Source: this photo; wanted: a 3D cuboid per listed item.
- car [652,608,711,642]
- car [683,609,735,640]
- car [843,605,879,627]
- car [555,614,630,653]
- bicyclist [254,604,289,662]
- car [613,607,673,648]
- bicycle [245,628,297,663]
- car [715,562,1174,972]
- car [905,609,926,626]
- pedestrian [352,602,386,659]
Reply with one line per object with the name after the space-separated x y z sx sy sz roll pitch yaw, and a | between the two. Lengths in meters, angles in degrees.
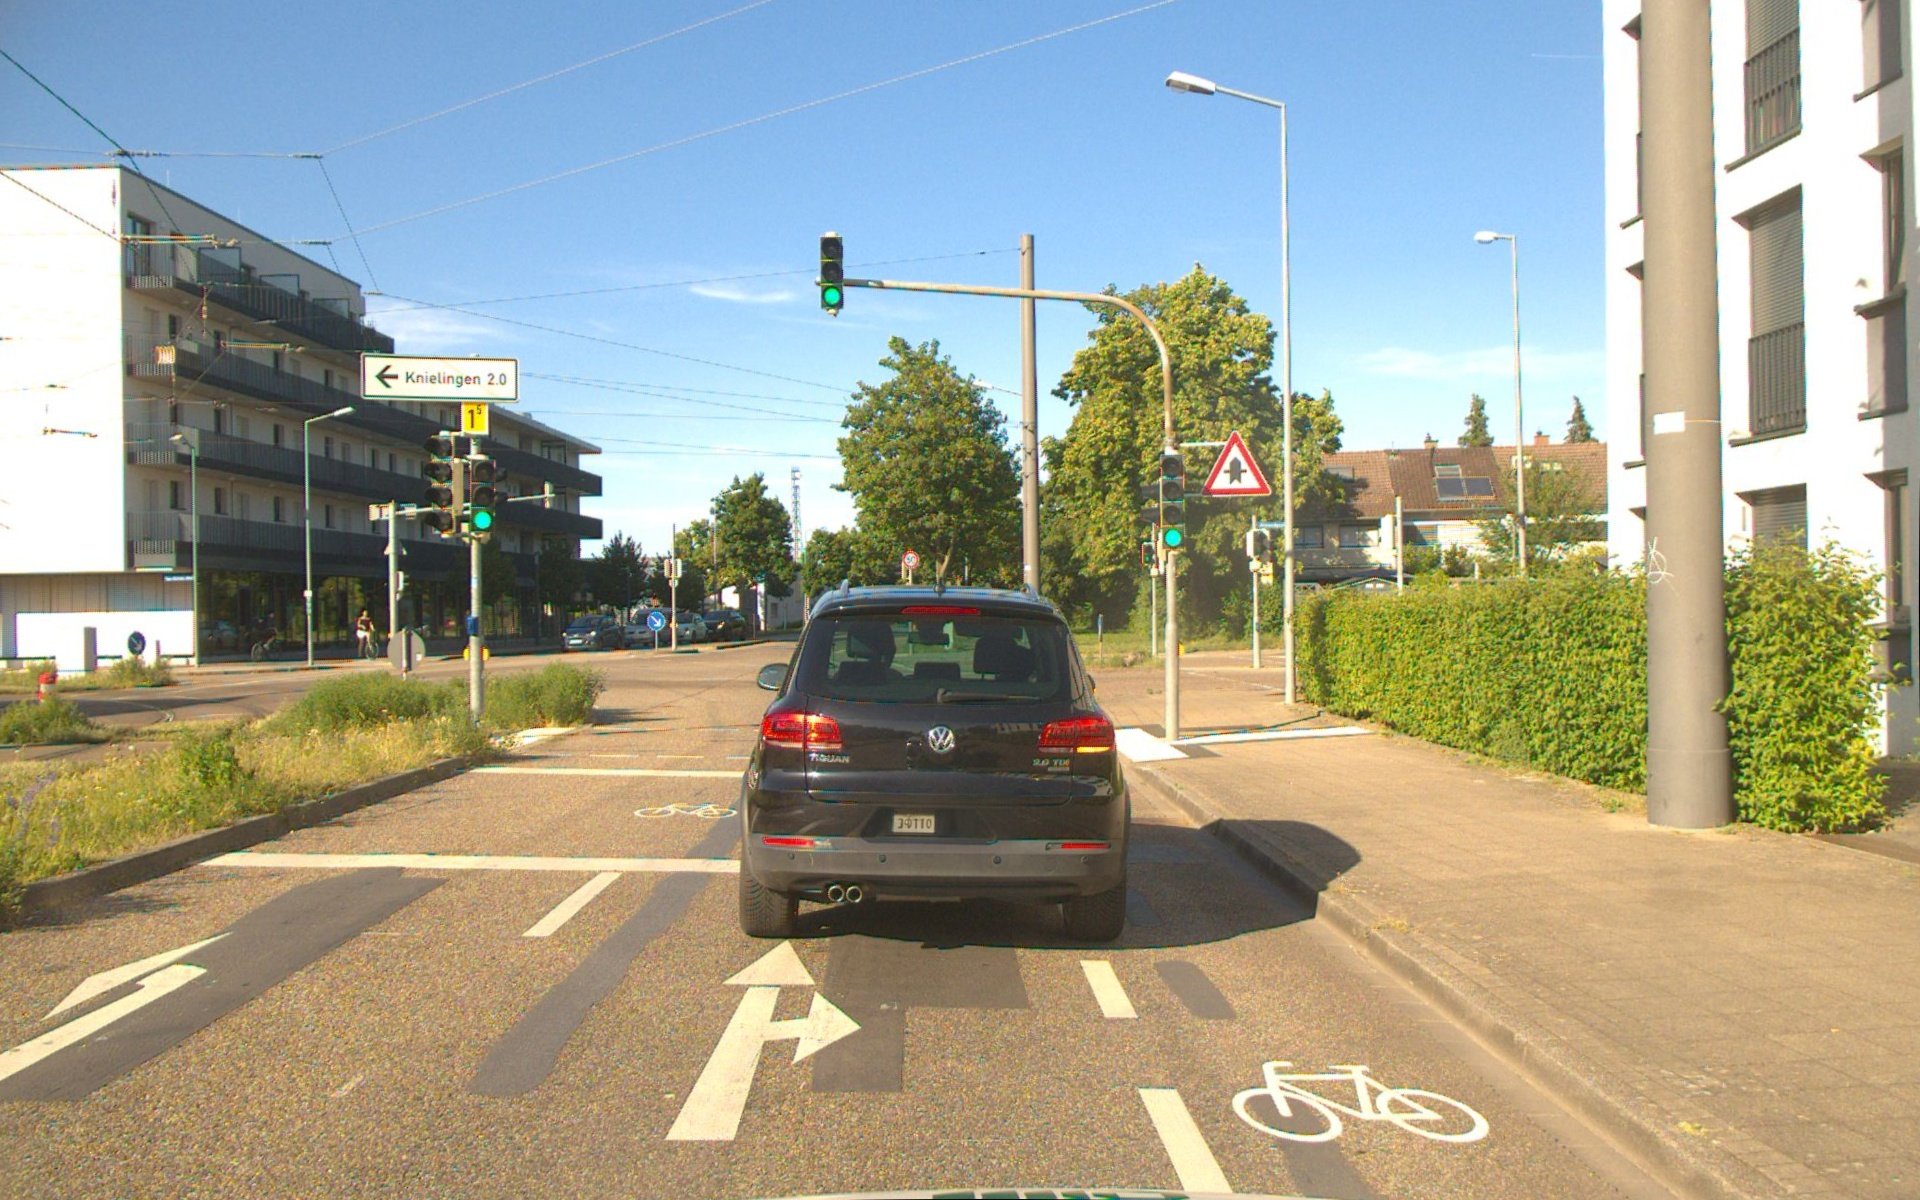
-13.880 1.237 82.692 1.951 1.513 3.546 -3 0 6 | car
-13.395 1.289 88.391 1.926 1.561 4.741 -1 0 1 | car
-7.555 1.200 126.434 1.951 1.599 4.003 -1 0 7 | car
-15.338 1.376 69.251 1.659 1.482 4.456 -1 0 7 | car
-24.537 1.170 58.959 0.793 2.049 0.794 -2 -1 27 | bicyclist
-14.769 1.257 77.251 1.953 1.786 4.361 -1 0 0 | car
-24.539 1.612 58.931 0.728 1.164 1.641 -2 0 27 | bicycle
-0.136 0.719 9.185 1.890 1.683 4.512 1 0 -2 | car
-4.859 1.921 180.216 1.952 1.768 5.200 -1 0 1 | car
-21.547 1.106 60.310 0.957 2.049 0.760 -1 -1 -3 | pedestrian
